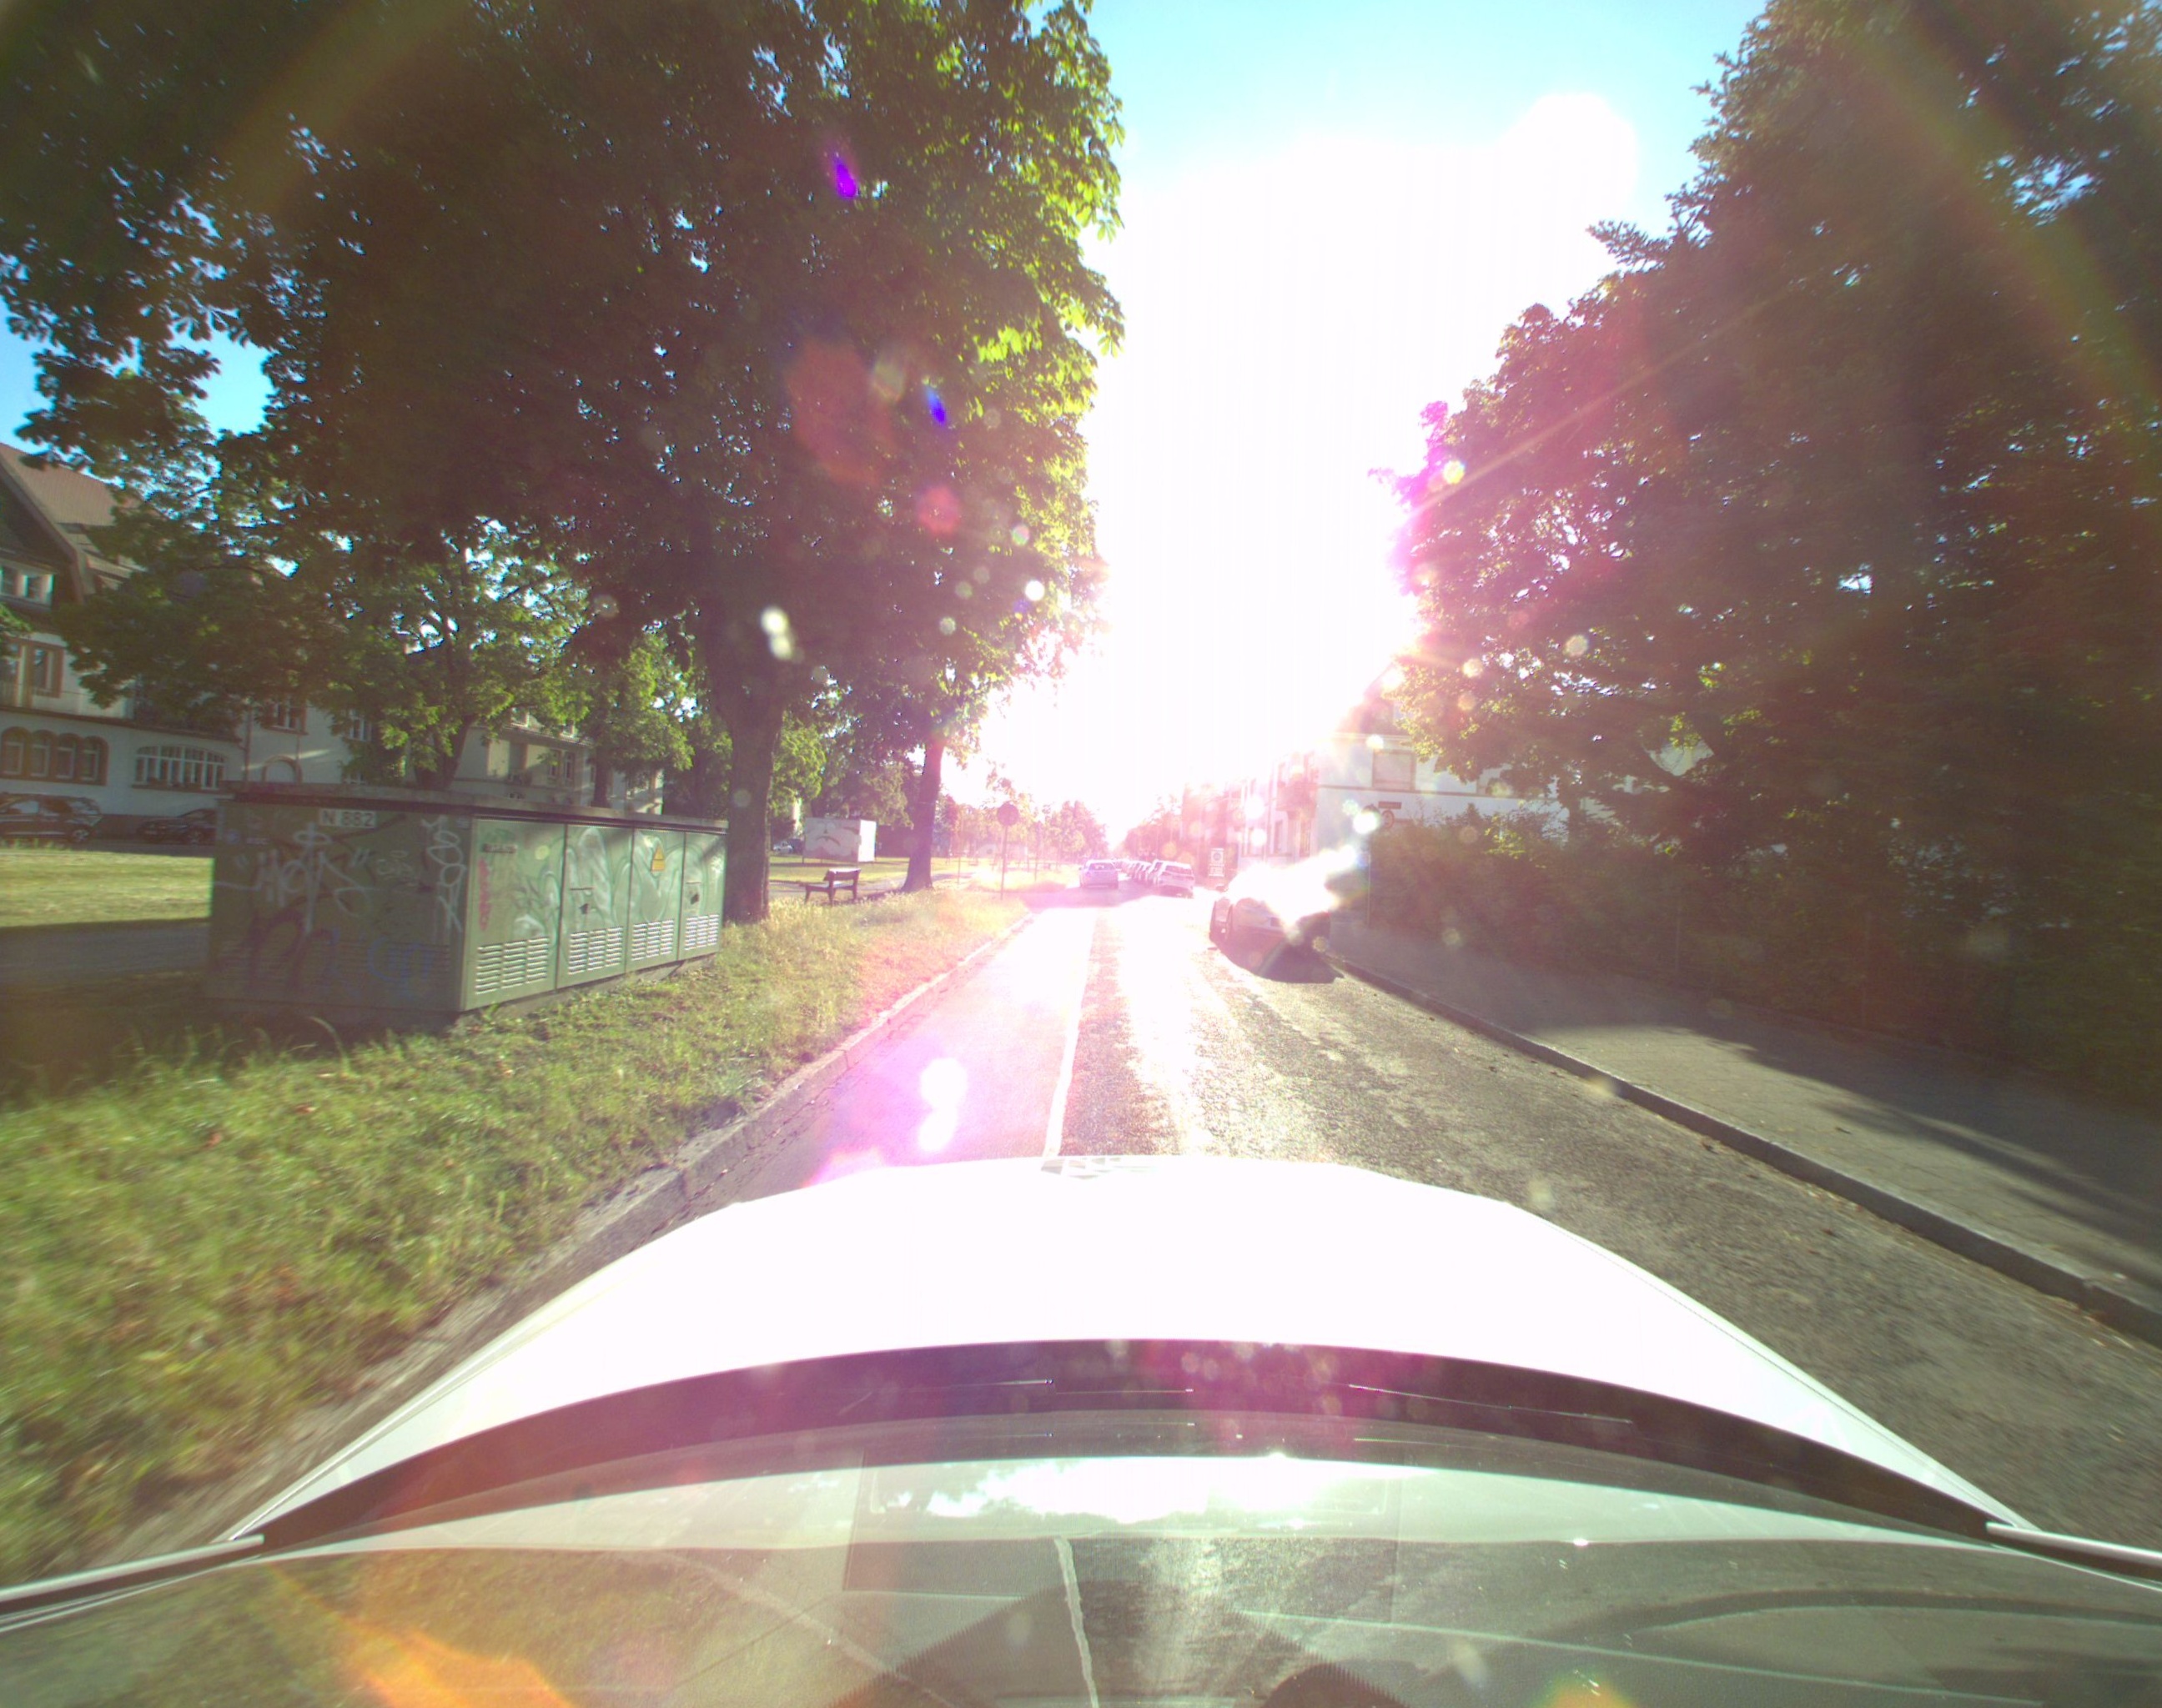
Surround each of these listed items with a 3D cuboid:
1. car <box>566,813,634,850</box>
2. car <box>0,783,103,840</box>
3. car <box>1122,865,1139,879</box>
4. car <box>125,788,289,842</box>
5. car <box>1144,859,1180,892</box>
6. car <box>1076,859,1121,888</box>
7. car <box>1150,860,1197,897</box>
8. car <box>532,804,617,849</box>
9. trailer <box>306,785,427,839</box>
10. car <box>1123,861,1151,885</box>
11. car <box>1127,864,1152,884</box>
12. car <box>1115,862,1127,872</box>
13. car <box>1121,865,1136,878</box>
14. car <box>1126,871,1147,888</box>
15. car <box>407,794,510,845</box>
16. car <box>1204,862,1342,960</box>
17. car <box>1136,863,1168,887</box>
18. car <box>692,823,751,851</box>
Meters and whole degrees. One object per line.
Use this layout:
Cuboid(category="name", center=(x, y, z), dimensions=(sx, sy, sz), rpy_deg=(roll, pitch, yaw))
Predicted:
Cuboid(category="car", center=(-31.934, -1.446, 54.226), dimensions=(1.678, 2.176, 4.316), rpy_deg=(4, -1, 3))
Cuboid(category="car", center=(-38.719, -1.594, 29.087), dimensions=(1.988, 1.876, 4.493), rpy_deg=(4, -1, -1))
Cuboid(category="car", center=(6.463, 2.322, 106.746), dimensions=(1.985, 1.629, 4.002), rpy_deg=(4, -1, 3))
Cuboid(category="car", center=(-38.681, -1.659, 36.274), dimensions=(1.987, 1.953, 4.750), rpy_deg=(4, -1, 1))
Cuboid(category="car", center=(4.481, 1.181, 45.535), dimensions=(1.679, 1.651, 4.101), rpy_deg=(4, 0, 2))
Cuboid(category="car", center=(0.842, 0.981, 41.614), dimensions=(1.759, 1.420, 3.989), rpy_deg=(1, -1, -7))
Cuboid(category="car", center=(4.410, 1.151, 39.538), dimensions=(1.753, 1.605, 4.358), rpy_deg=(4, -1, 1))
Cuboid(category="car", center=(-37.566, -2.003, 60.683), dimensions=(2.428, 2.922, 5.819), rpy_deg=(2, -2, 2))
Cuboid(category="trailer", center=(-38.128, -2.180, 43.655), dimensions=(1.986, 2.428, 4.726), rpy_deg=(4, -1, 2))
Cuboid(category="car", center=(4.053, 1.373, 59.644), dimensions=(1.753, 1.605, 4.358), rpy_deg=(4, -1, 1))
Cuboid(category="car", center=(4.999, 1.727, 69.994), dimensions=(1.755, 1.521, 4.000), rpy_deg=(6, -1, 1))
Cuboid(category="car", center=(6.957, 2.264, 141.486), dimensions=(1.972, 1.683, 4.002), rpy_deg=(4, -1, 3))
Cuboid(category="car", center=(6.629, 2.425, 113.194), dimensions=(1.985, 1.629, 4.002), rpy_deg=(4, -1, 3))
Cuboid(category="car", center=(5.465, 2.523, 80.609), dimensions=(1.985, 1.464, 4.002), rpy_deg=(4, -1, 3))
Cuboid(category="car", center=(-37.939, -2.039, 49.854), dimensions=(1.986, 2.673, 5.189), rpy_deg=(4, -1, 2))
Cuboid(category="car", center=(3.646, 1.033, 16.220), dimensions=(1.750, 1.420, 4.074), rpy_deg=(10, -1, 2))
Cuboid(category="car", center=(4.700, 1.361, 54.264), dimensions=(1.755, 1.420, 4.000), rpy_deg=(4, 0, 1))
Cuboid(category="car", center=(-31.691, -1.455, 72.044), dimensions=(2.525, 2.236, 5.461), rpy_deg=(3, -1, 2))
